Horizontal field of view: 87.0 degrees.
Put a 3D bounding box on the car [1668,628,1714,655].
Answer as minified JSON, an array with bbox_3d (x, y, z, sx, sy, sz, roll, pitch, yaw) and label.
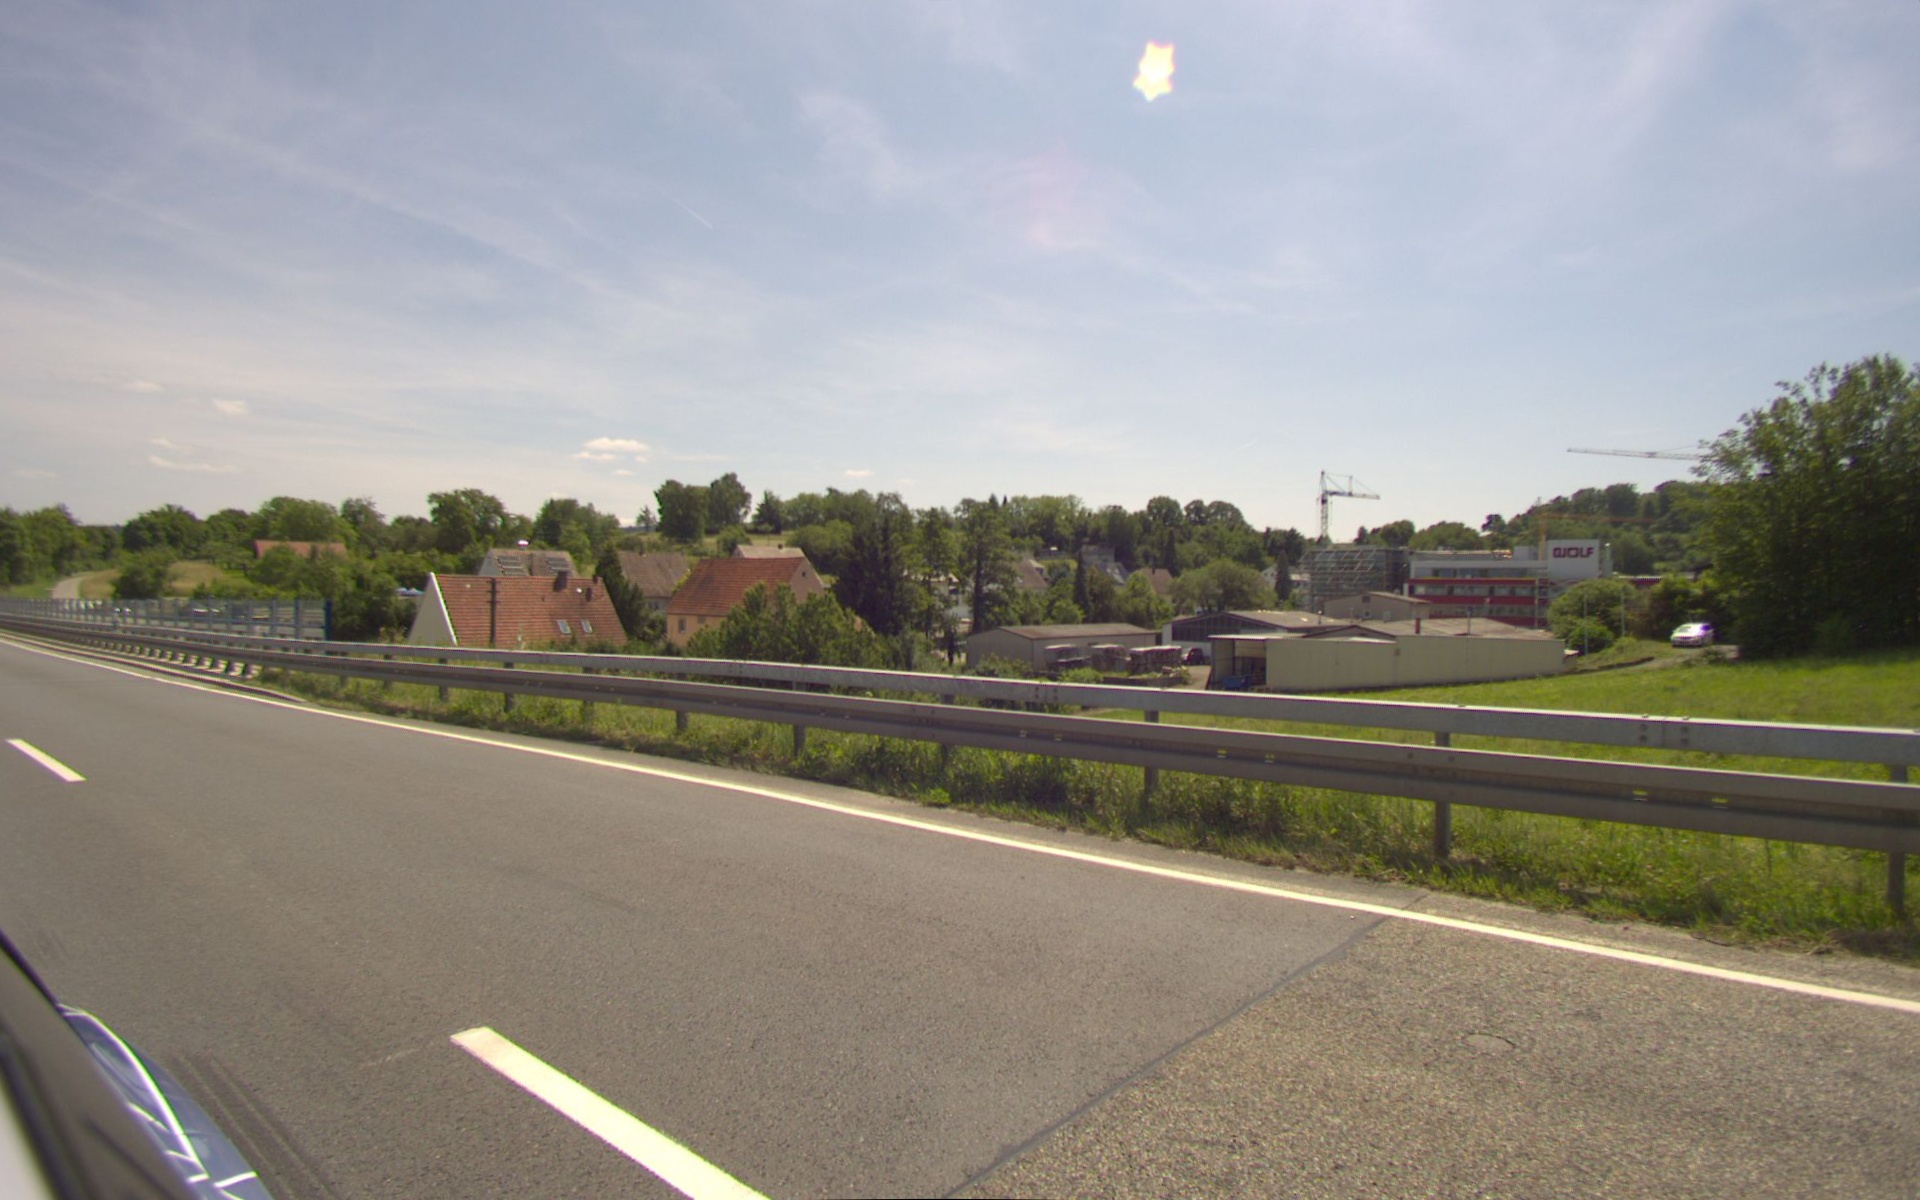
[{"bbox_3d":[49.873,2.803,68.990,3.941,1.615,1.833,-2,-2,-45],"label":"car"}]
